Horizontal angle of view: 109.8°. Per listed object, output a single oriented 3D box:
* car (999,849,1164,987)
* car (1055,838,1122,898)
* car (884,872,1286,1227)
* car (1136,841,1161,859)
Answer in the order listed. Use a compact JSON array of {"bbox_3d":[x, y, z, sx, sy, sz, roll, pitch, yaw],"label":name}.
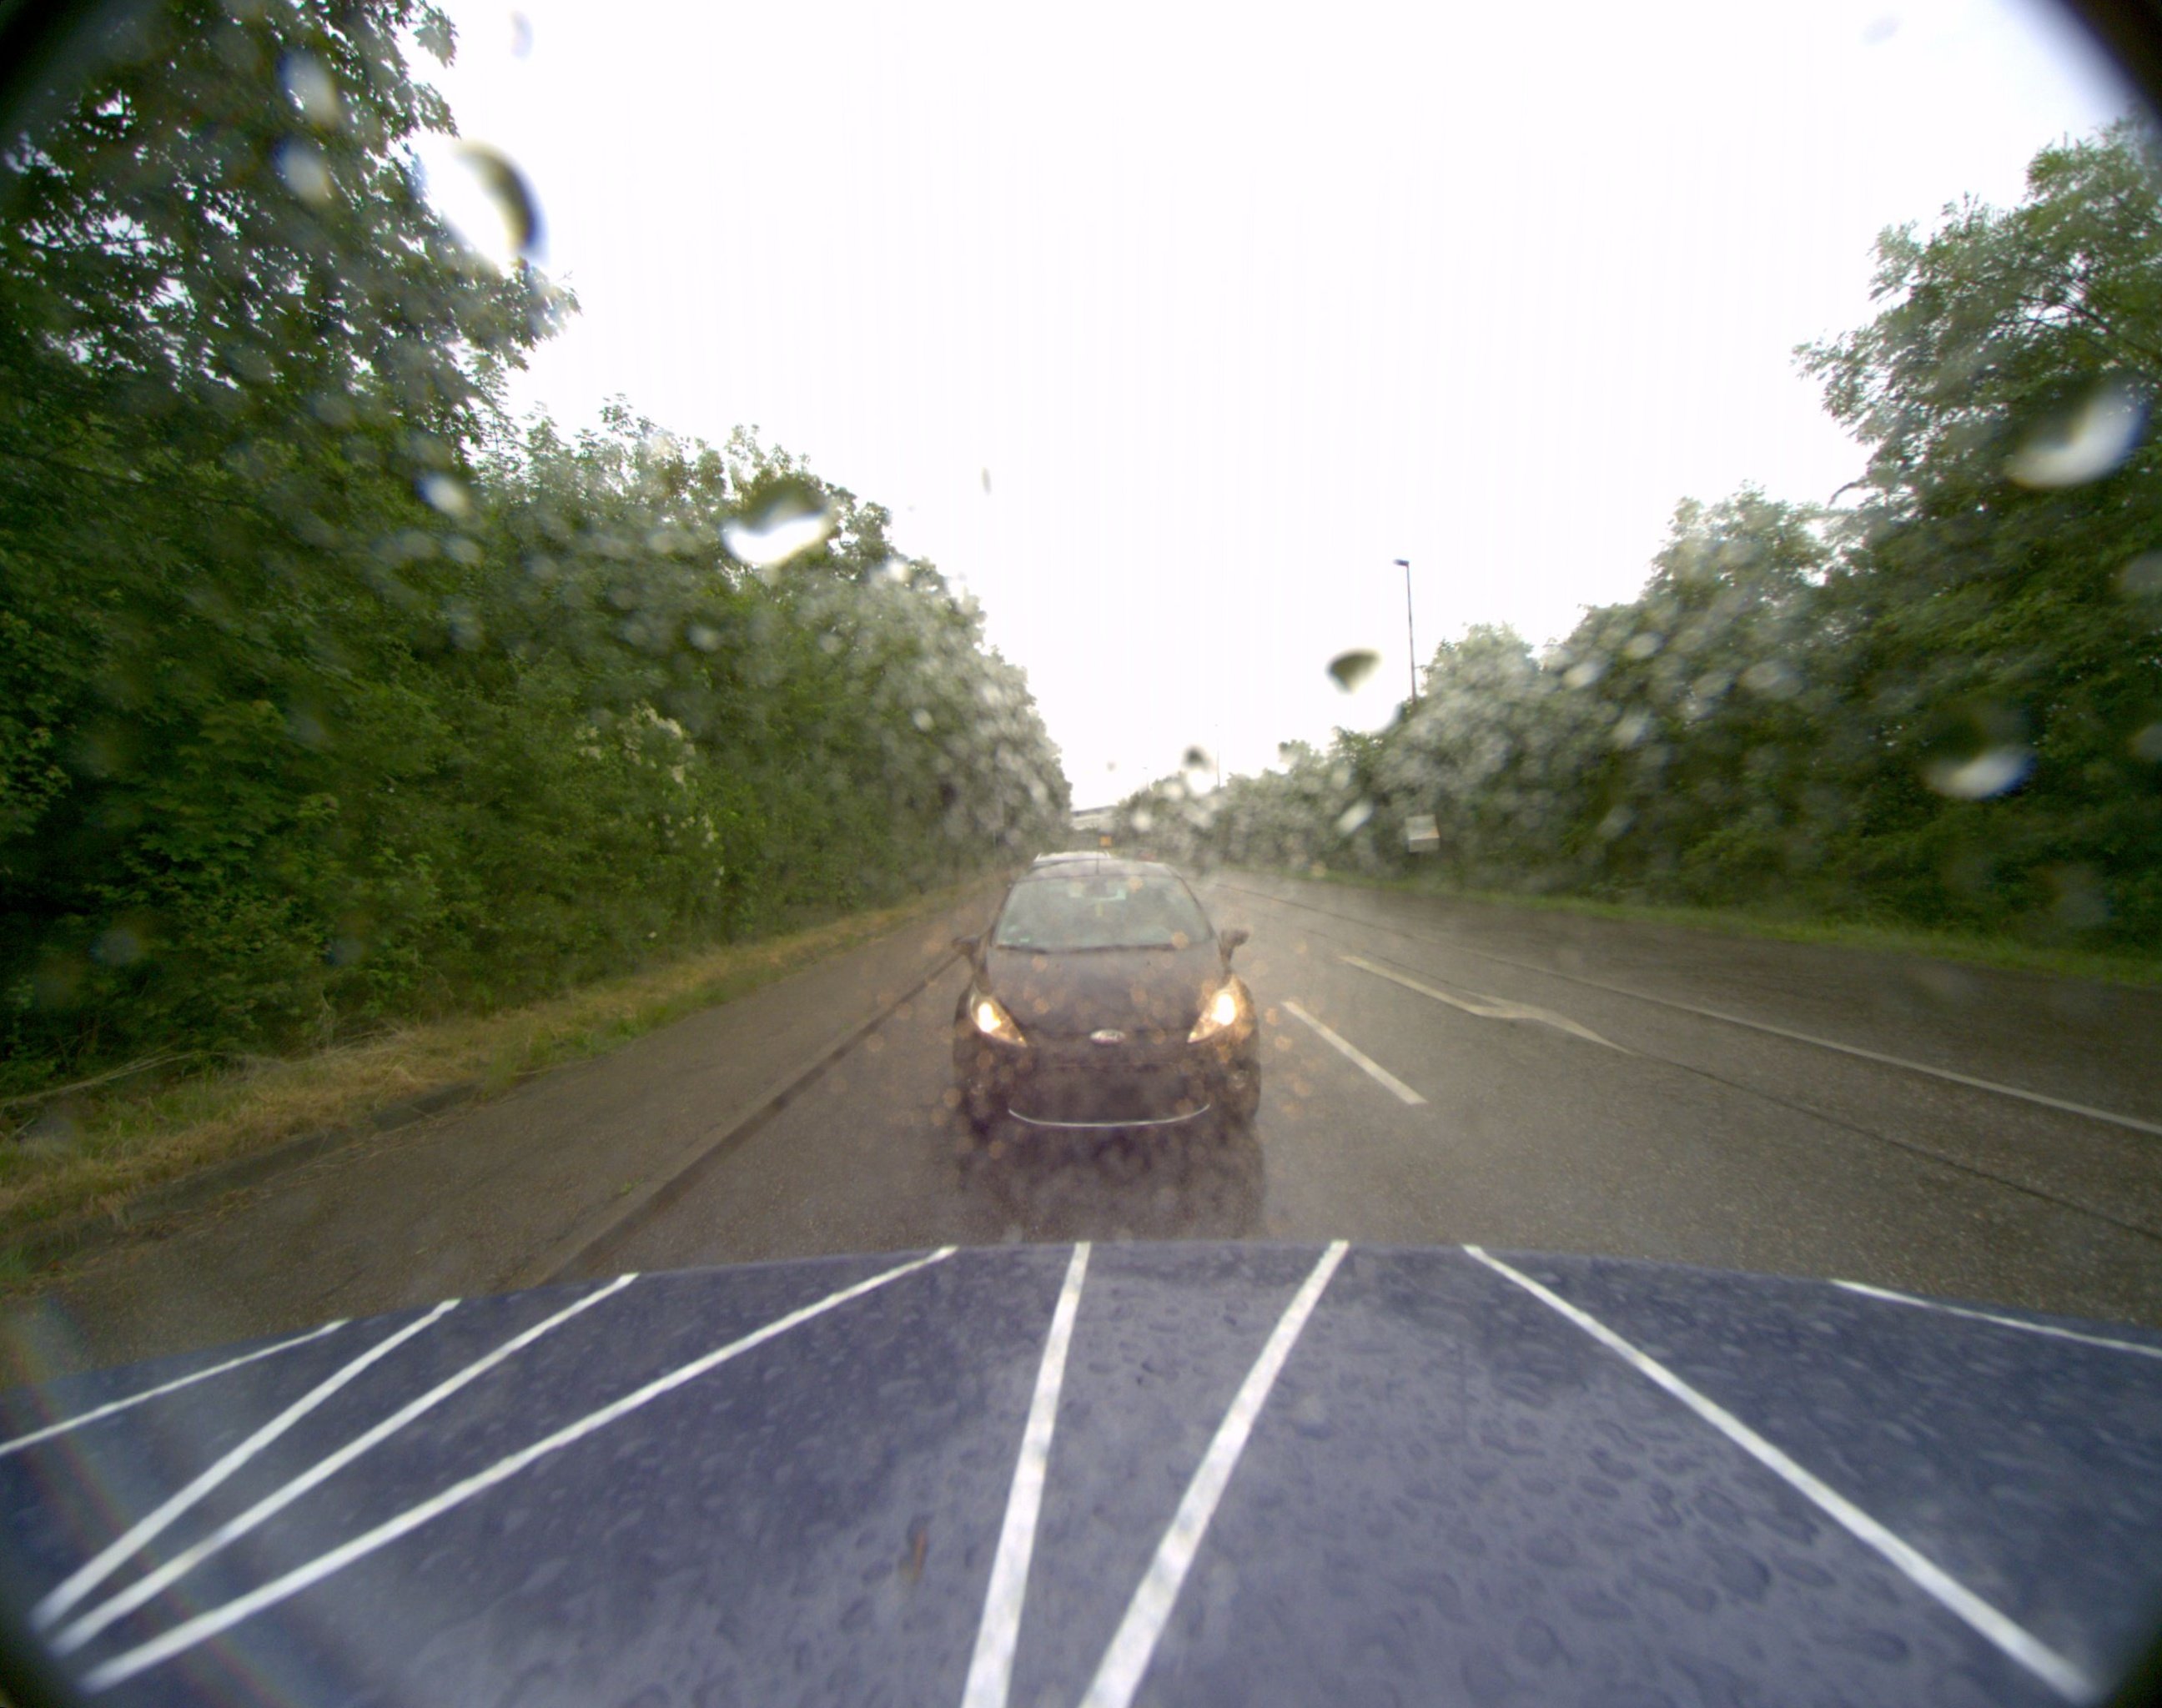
[{"bbox_3d":[0.033,0.785,11.439,1.998,1.576,3.999,-2,1,1],"label":"car"},{"bbox_3d":[0.258,0.435,25.392,1.998,1.778,4.000,-2,0,0],"label":"car"},{"bbox_3d":[0.047,0.975,5.726,1.839,1.404,4.341,-2,1,1],"label":"car"},{"bbox_3d":[6.175,-0.380,70.025,1.998,1.576,3.999,-2,1,1],"label":"car"}]
